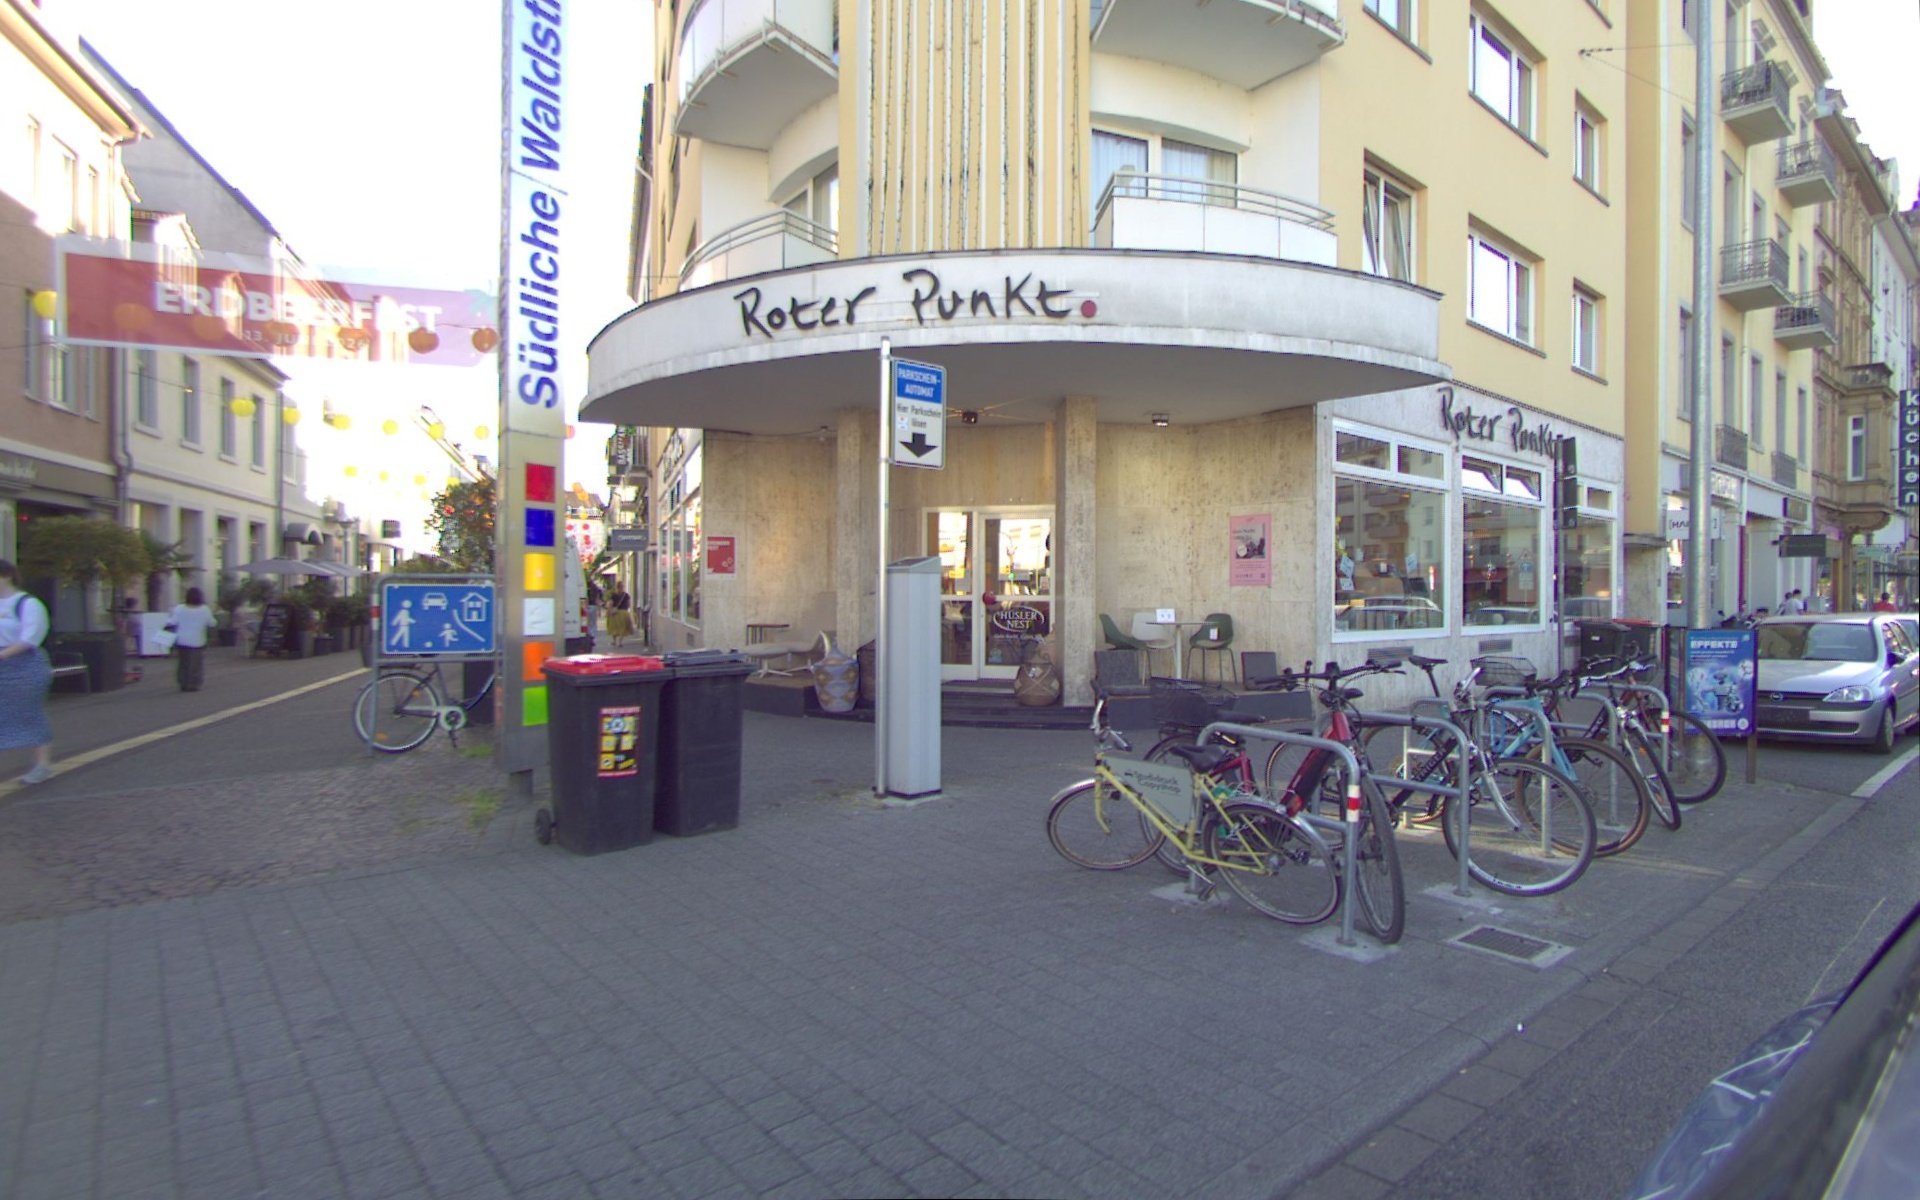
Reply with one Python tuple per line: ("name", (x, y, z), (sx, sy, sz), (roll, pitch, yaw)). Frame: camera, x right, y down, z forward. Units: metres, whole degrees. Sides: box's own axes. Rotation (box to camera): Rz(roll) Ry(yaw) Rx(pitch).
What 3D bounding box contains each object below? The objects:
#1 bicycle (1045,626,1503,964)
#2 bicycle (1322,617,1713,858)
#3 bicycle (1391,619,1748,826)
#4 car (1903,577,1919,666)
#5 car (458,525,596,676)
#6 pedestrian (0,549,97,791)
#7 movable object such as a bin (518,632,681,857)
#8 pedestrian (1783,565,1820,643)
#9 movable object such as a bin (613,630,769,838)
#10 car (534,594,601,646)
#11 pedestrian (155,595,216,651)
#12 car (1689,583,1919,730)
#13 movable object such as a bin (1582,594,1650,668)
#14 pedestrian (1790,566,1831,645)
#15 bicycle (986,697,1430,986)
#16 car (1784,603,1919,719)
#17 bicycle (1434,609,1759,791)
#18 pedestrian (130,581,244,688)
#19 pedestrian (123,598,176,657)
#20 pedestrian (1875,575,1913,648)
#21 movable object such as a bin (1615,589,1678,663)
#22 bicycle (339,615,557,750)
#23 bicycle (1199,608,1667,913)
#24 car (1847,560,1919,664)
("bicycle", (1.451, 0.782, 4.932), (1.941, 1.227, 0.918), (1, 1, 44))
("bicycle", (3.300, 0.721, 6.174), (0.741, 1.172, 1.961), (0, 1, -39))
("bicycle", (4.189, 0.756, 7.120), (0.703, 1.164, 2.026), (0, 1, -39))
("car", (22.417, 0.445, 22.592), (1.993, 1.902, 3.938), (0, 0, 43))
("car", (-8.189, -0.014, 19.542), (2.026, 2.499, 4.706), (-2, 1, -19))
("pedestrian", (-7.033, 0.490, 7.412), (0.751, 1.679, 0.816), (0, 0, -4))
("movable object such as a bin", (-2.056, 0.765, 5.753), (0.610, 1.126, 0.809), (-1, 0, -42))
("pedestrian", (21.642, 0.091, 26.037), (0.605, 1.978, 0.671), (0, 0, -44))
("movable object such as a bin", (-1.642, 0.761, 6.144), (0.610, 1.126, 0.809), (-1, 0, -42))
("car", (-13.369, 0.619, 34.639), (1.860, 1.661, 4.124), (0, 0, -17))
("pedestrian", (-17.240, 0.490, 22.556), (0.802, 1.207, 1.131), (0, 0, -22))
("car", (10.003, 0.521, 11.632), (3.928, 1.416, 1.692), (-1, 0, -39))
("movable object such as a bin", (10.887, 0.495, 16.801), (0.943, 1.175, 0.702), (0, 0, -40))
("pedestrian", (21.289, 0.129, 25.319), (0.891, 1.930, 0.693), (0, 0, -44))
("bicycle", (1.034, 0.958, 4.562), (1.842, 0.842, 0.730), (1, 1, 45))
("car", (13.446, 0.786, 14.760), (3.933, 1.443, 1.738), (-1, 1, -43))
("bicycle", (4.890, 0.691, 7.919), (0.671, 1.196, 2.048), (0, 1, -39))
("pedestrian", (-11.514, 0.477, 15.125), (1.089, 1.499, 1.086), (-2, 1, -23))
("pedestrian", (-17.977, 0.589, 22.444), (0.815, 1.266, 0.763), (0, 0, 38))
("pedestrian", (24.953, 0.295, 27.025), (0.891, 1.930, 0.693), (0, 0, -44))
("movable object such as a bin", (12.186, 0.442, 17.955), (0.943, 1.255, 0.702), (0, 0, -40))
("bicycle", (-4.605, 0.709, 9.209), (1.713, 1.102, 0.562), (-1, 0, -25))
("bicycle", (2.374, 0.693, 5.340), (0.699, 1.260, 2.137), (0, 1, -44))
("car", (17.705, 0.179, 18.389), (4.128, 1.756, 1.996), (-1, 0, -43))
